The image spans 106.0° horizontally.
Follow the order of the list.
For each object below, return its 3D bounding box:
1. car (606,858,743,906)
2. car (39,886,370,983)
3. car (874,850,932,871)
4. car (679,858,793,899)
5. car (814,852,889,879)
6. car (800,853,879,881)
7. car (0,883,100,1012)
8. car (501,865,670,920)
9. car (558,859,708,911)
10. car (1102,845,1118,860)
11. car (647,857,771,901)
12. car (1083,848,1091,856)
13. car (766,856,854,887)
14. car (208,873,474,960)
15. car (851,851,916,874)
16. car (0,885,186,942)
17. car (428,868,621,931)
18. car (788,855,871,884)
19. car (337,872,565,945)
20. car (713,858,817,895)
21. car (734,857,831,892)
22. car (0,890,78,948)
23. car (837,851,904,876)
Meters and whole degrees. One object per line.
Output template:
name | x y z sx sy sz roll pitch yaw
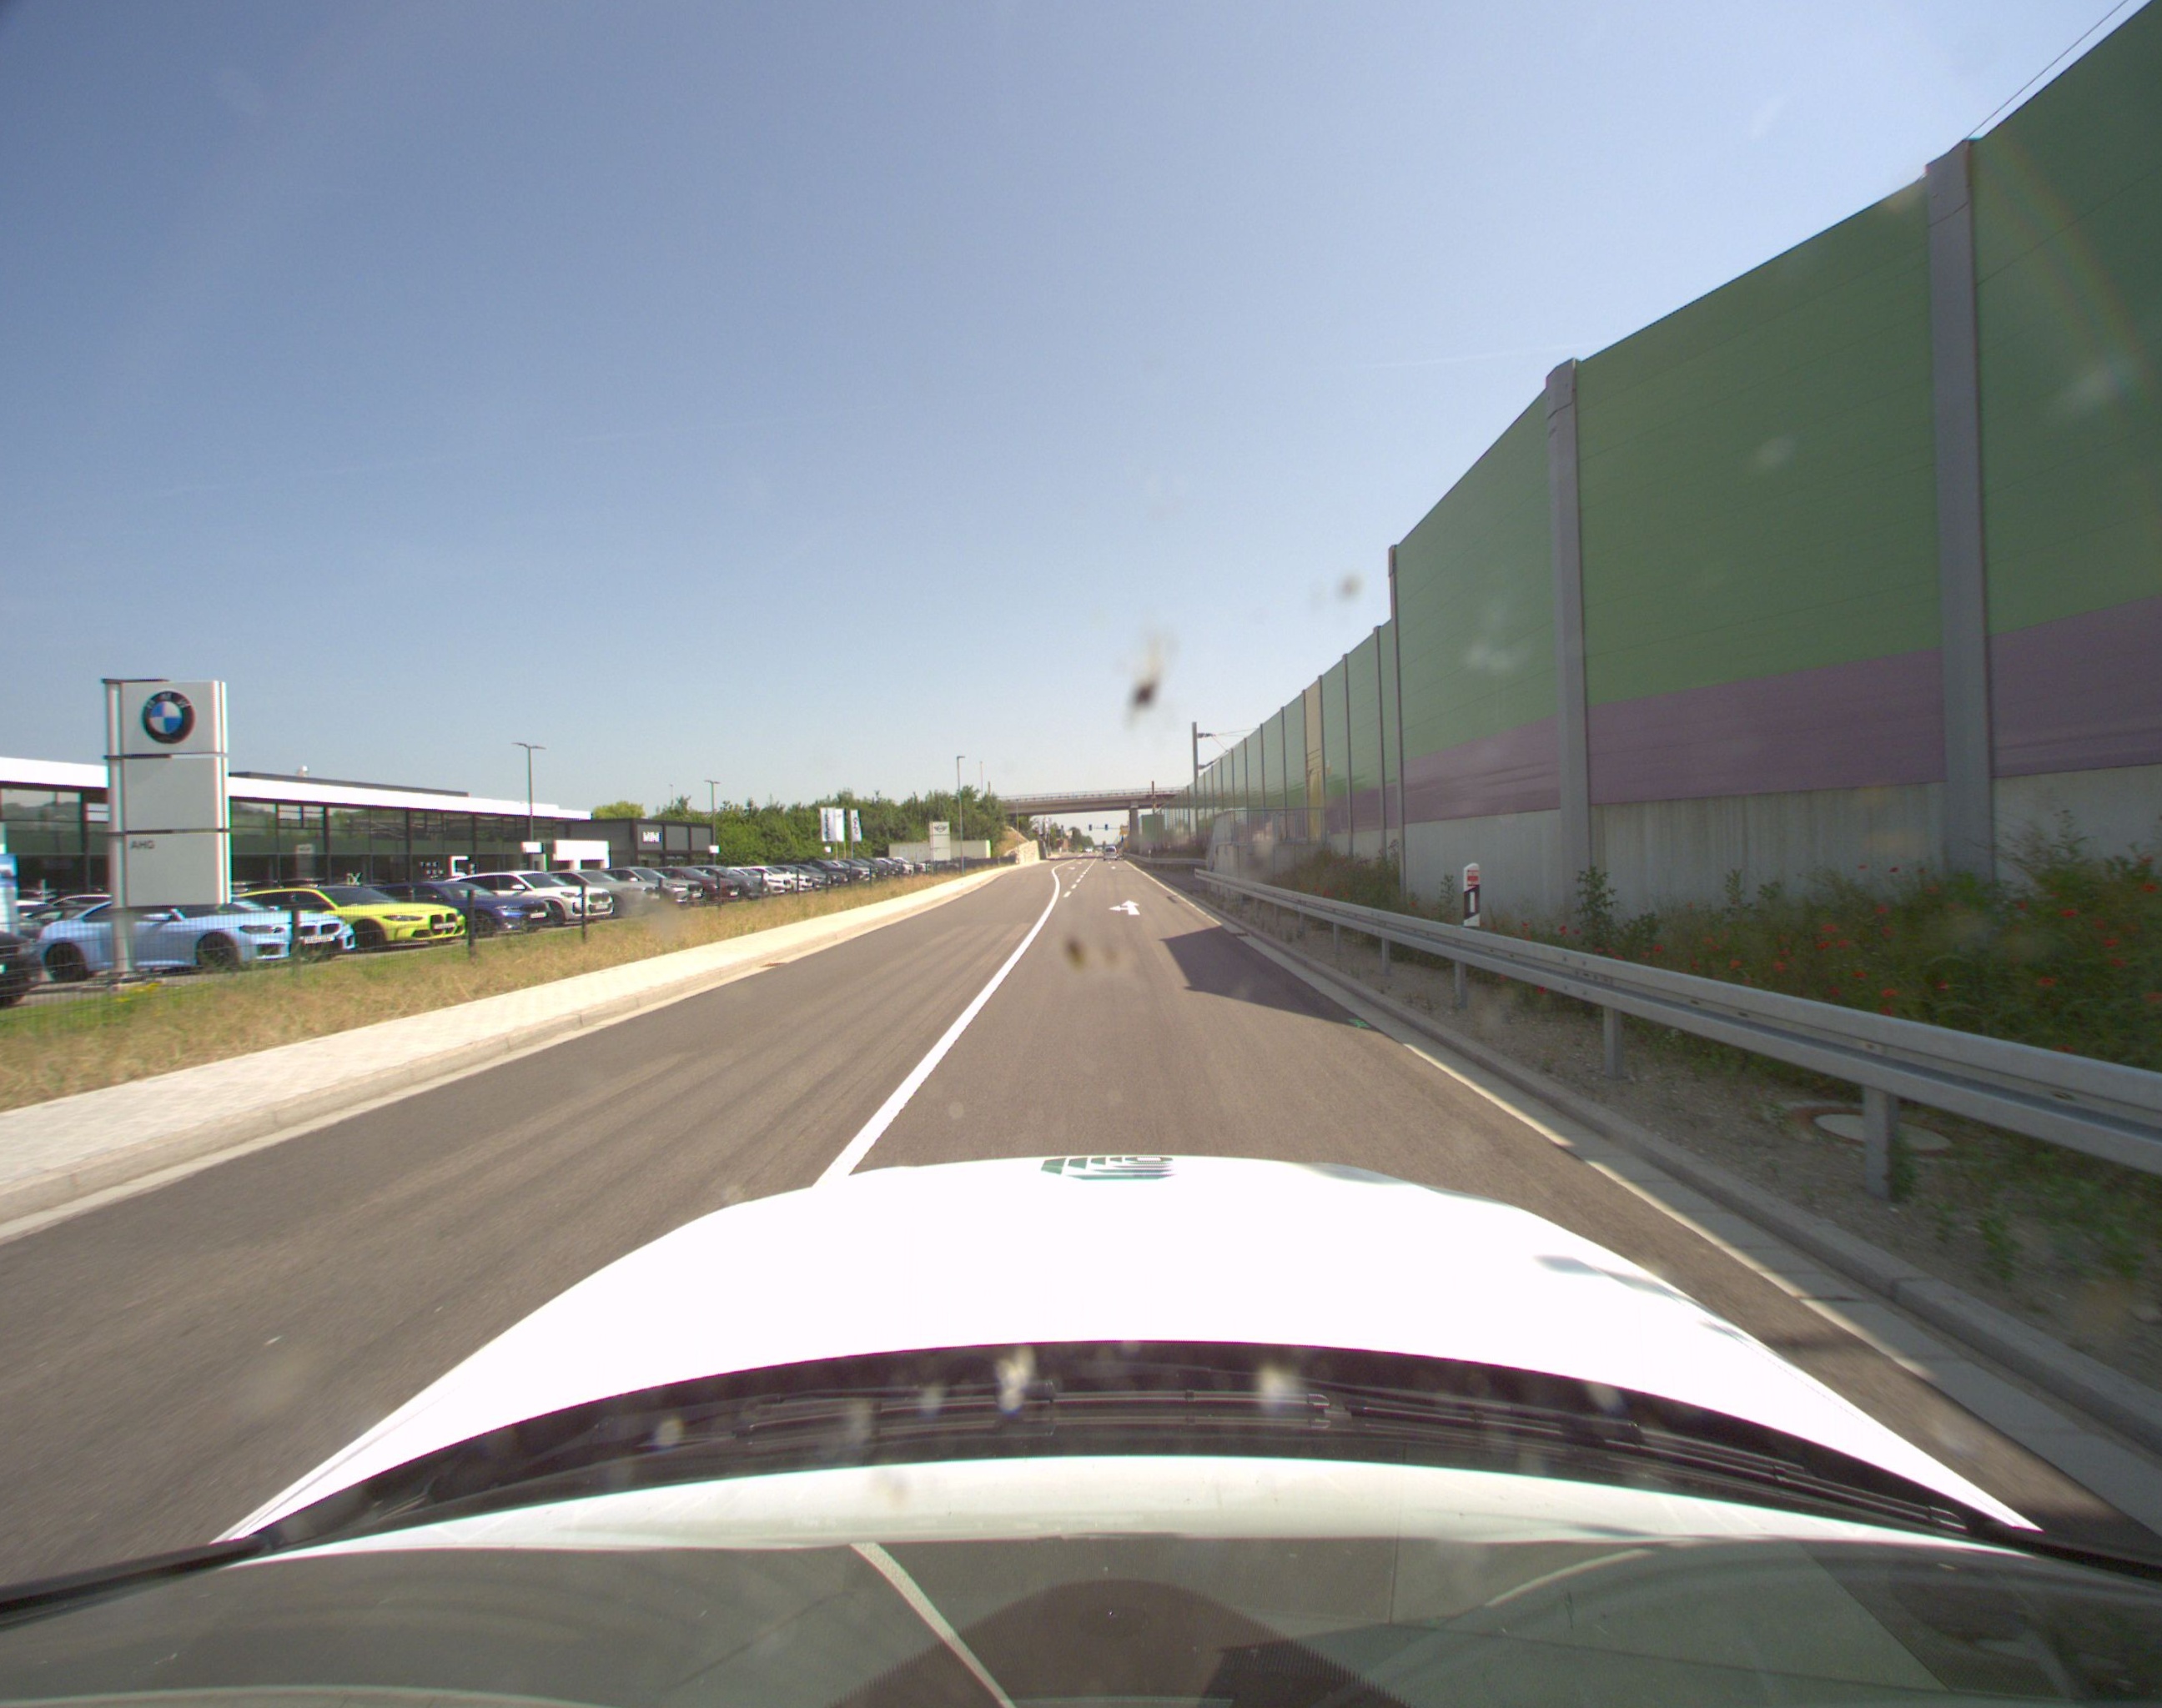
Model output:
car | -15.257 1.042 30.697 4.148 1.545 1.816 -3 1 1
car | -15.712 1.404 14.767 3.971 1.391 1.880 -2 1 2
car | -14.260 0.527 65.375 4.148 1.466 1.816 -3 1 1
car | -15.144 1.050 35.902 4.148 1.545 1.816 -3 1 1
car | -14.546 0.737 51.834 4.148 1.466 1.816 -3 1 1
car | -14.601 0.782 49.325 4.148 1.466 1.816 -3 1 1
car | -15.543 1.286 10.160 3.974 1.572 2.053 -3 1 0
car | -15.572 1.185 25.747 4.148 1.466 1.816 -3 1 1
car | -15.547 1.052 28.397 4.148 1.545 1.816 -3 1 1
car | 3.783 -0.224 104.990 1.985 1.757 4.004 -2 1 3
car | -15.207 1.007 33.425 4.148 1.545 1.816 -3 1 1
car | 1.555 -0.557 207.445 1.986 1.926 4.001 -3 0 1
car | -14.772 0.945 44.536 4.148 1.466 1.816 -3 1 1
car | -15.672 1.293 17.400 3.972 1.534 1.816 -3 1 2
car | -14.438 0.629 59.656 4.148 1.466 1.816 -3 1 1
car | -31.194 1.850 25.561 4.148 1.466 1.816 -3 1 1
car | -15.598 1.256 22.984 4.148 1.466 1.816 -3 1 1
car | -14.519 0.869 47.115 4.148 1.466 1.816 -3 1 1
car | -15.427 1.313 20.102 4.148 1.466 1.816 -3 1 1
car | -15.049 1.055 38.930 4.148 1.545 1.816 -3 1 1
car | -15.053 1.011 41.182 4.148 1.545 1.816 -3 1 1
car | -31.497 1.906 22.958 4.148 1.466 1.816 -3 1 1
car | -14.618 0.660 56.692 4.148 1.466 1.816 -3 1 1
